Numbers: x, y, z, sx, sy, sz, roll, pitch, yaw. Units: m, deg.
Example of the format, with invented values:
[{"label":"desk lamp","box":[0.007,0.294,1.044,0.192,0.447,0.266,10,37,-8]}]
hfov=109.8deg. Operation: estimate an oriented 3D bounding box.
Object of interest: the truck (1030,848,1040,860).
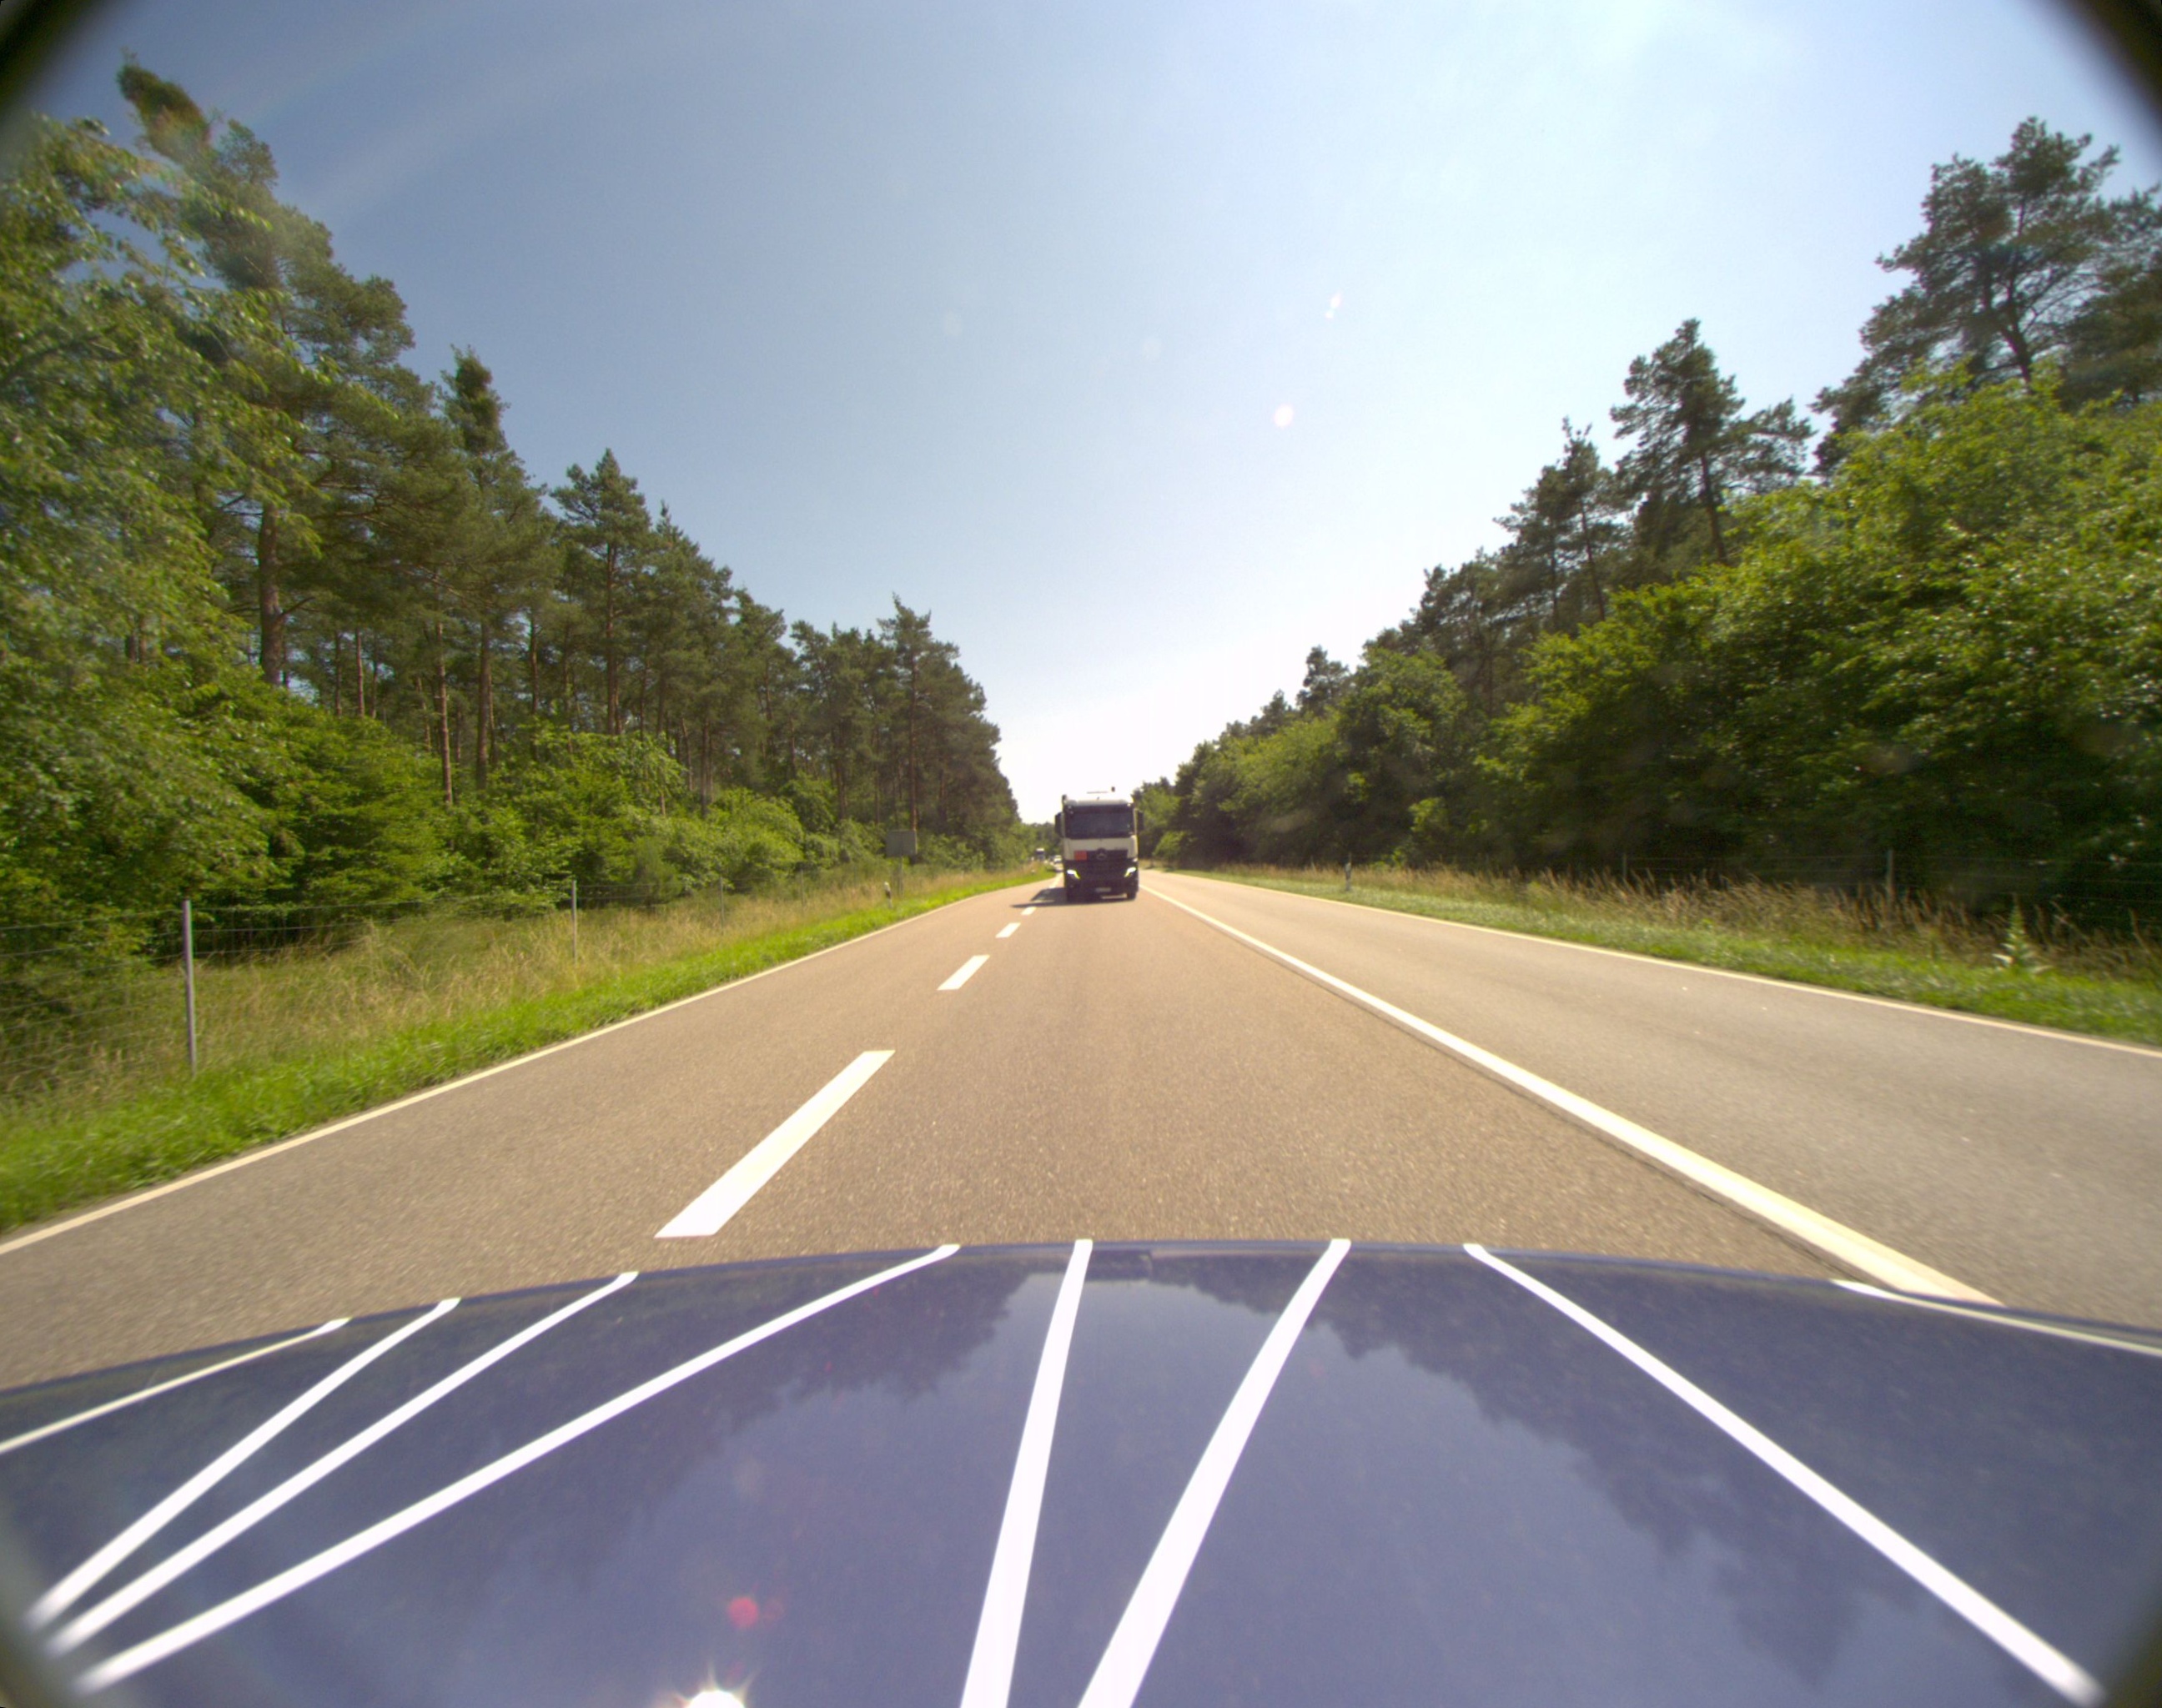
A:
[{"label":"truck","box":[-13.430,-0.026,223.549,2.495,3.619,6.100,-2,0,-6]}]

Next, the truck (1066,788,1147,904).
[{"label":"truck","box":[0.820,-0.256,28.067,2.435,3.672,6.456,-4,0,0]}]

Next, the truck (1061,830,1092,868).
[{"label":"truck","box":[-0.500,-0.522,76.859,2.495,3.698,6.221,0,0,-6]}]

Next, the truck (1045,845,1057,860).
[{"label":"truck","box":[-7.551,-0.467,192.760,2.495,3.619,6.100,-2,0,-6]}]

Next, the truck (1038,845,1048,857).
[{"label":"truck","box":[-11.840,-0.834,236.993,2.495,3.619,6.100,-2,0,-6]}]

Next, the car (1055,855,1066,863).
[{"label":"car","box":[-3.798,0.912,143.056,1.885,1.461,3.998,-2,0,-4]}]
